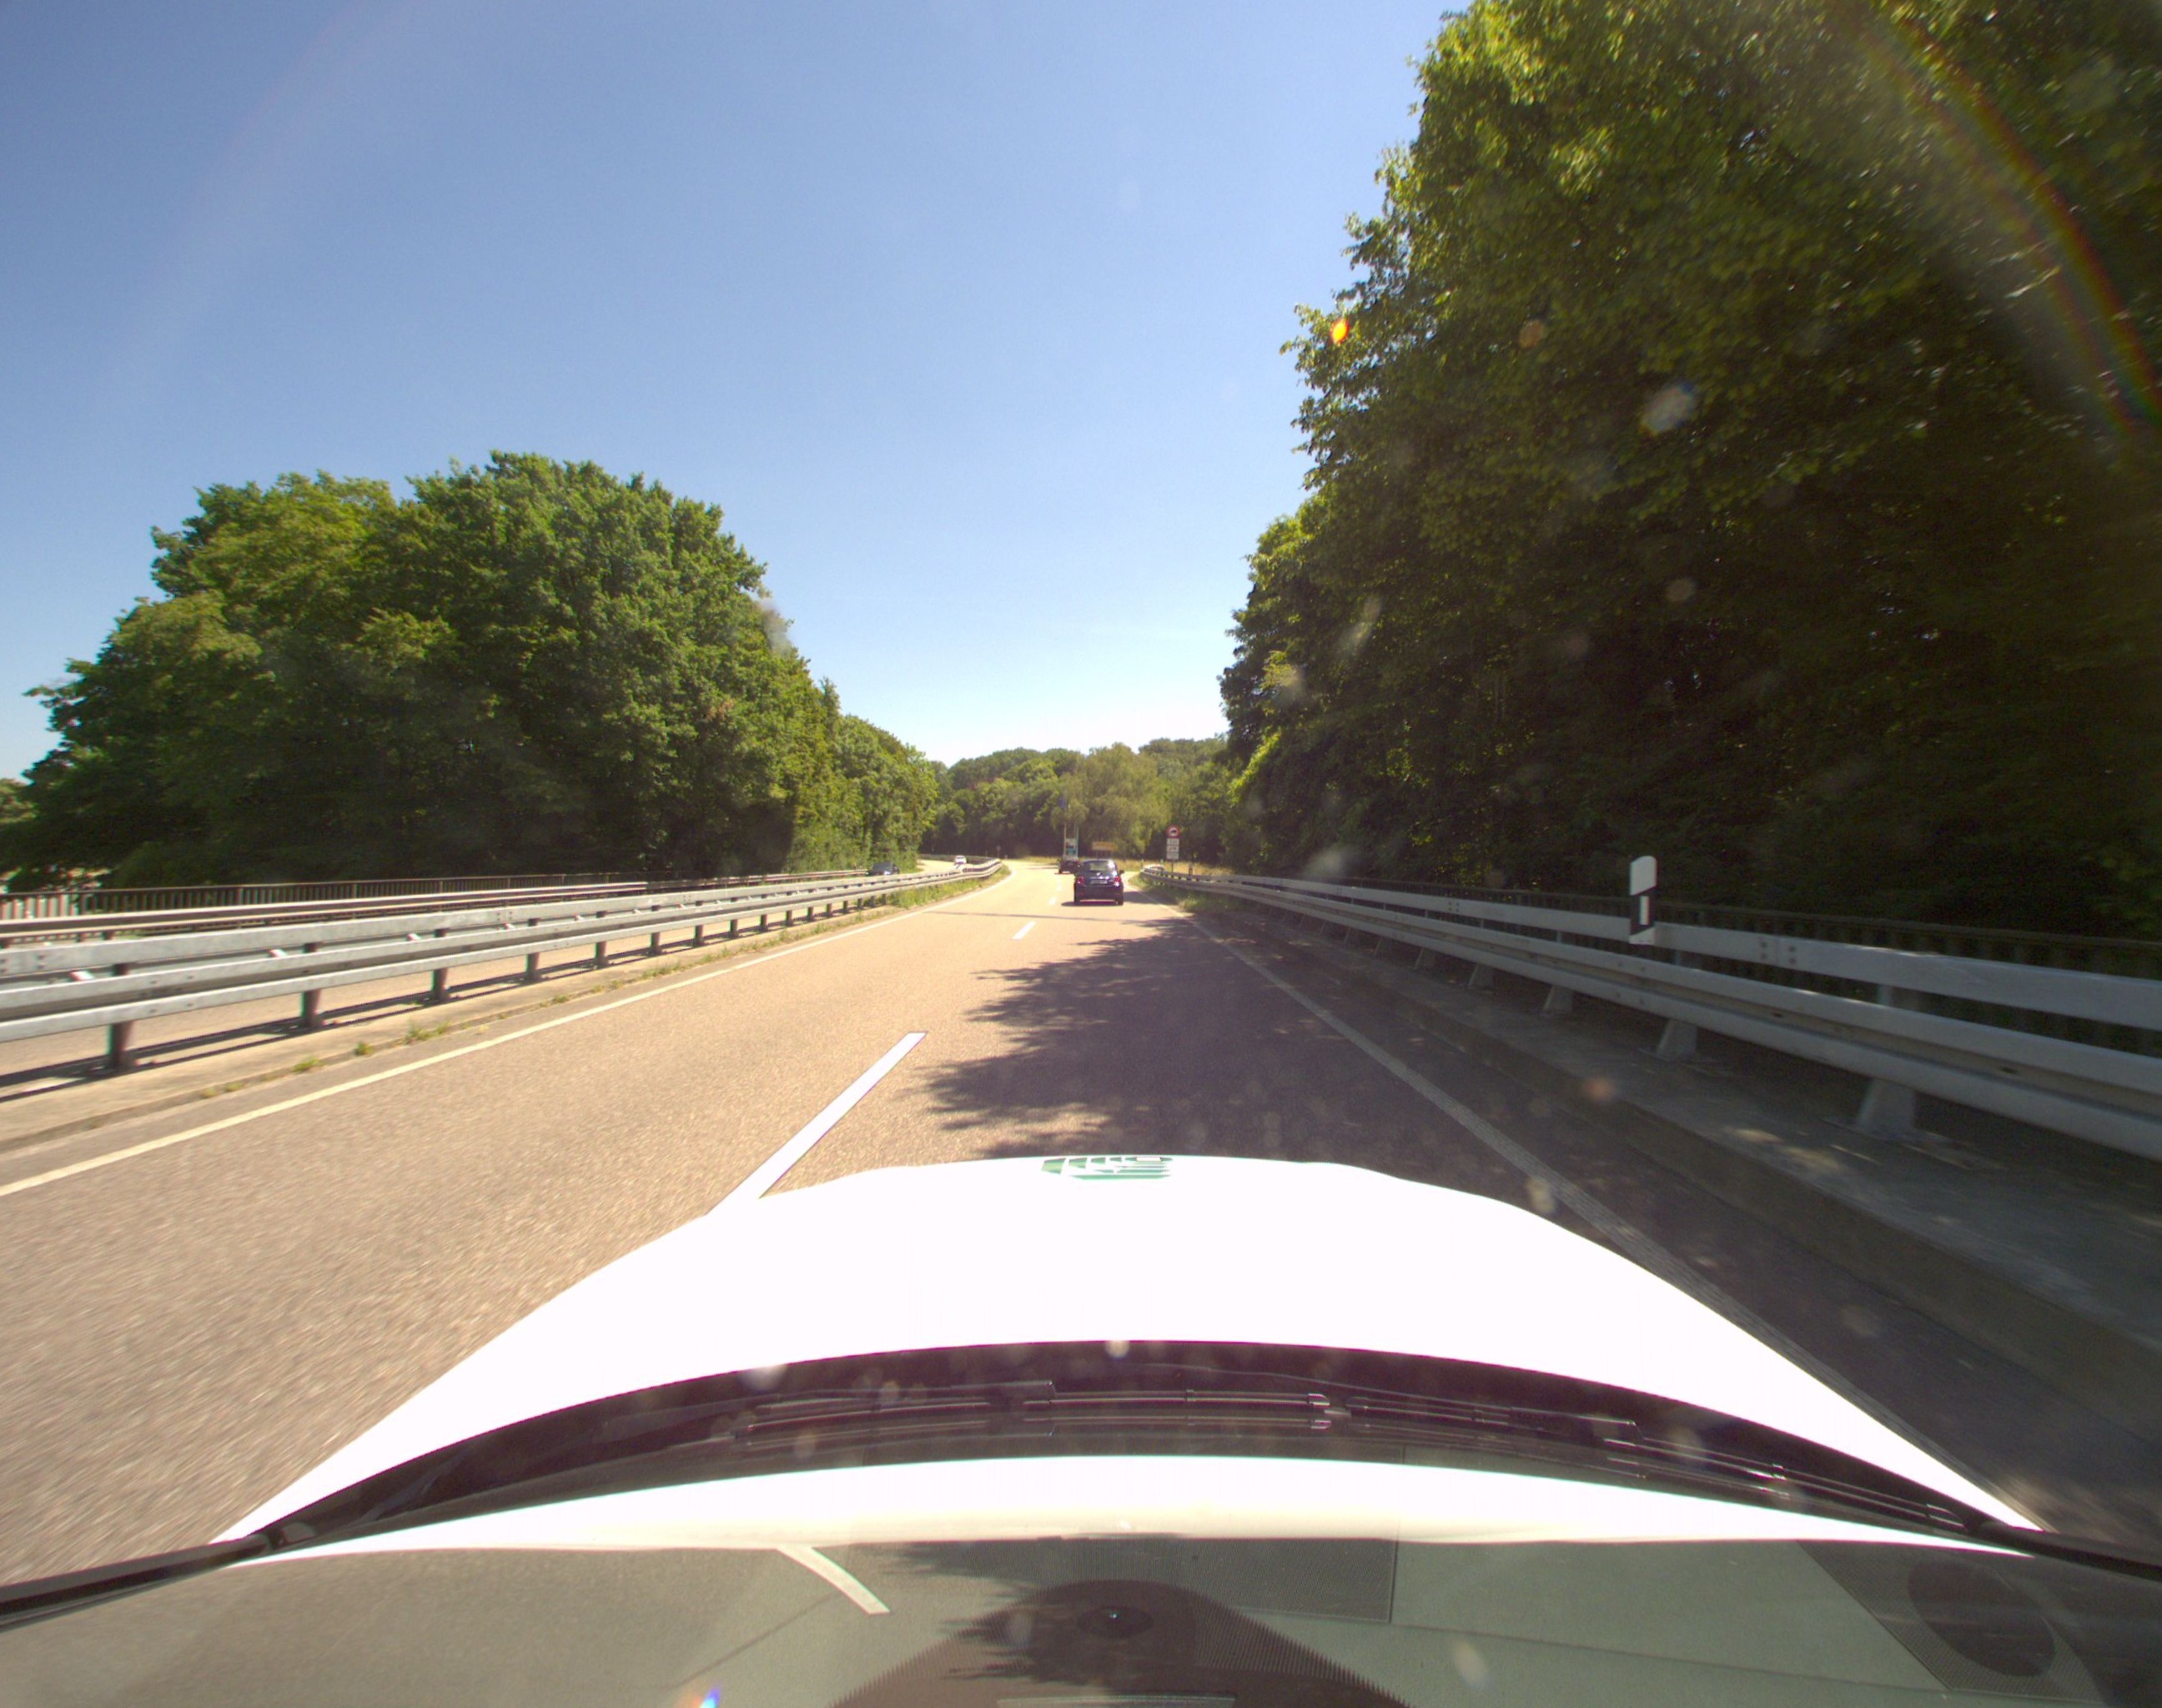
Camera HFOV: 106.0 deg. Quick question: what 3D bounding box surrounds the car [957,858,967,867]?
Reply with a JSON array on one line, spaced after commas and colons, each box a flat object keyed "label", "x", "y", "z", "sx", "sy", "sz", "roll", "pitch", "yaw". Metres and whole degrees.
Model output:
[{"label": "car", "x": -20.623, "y": 1.430, "z": 141.301, "sx": 1.754, "sy": 1.573, "sz": 4.402, "roll": -1, "pitch": 0, "yaw": -8}]

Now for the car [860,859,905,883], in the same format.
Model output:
[{"label": "car", "x": -13.464, "y": 1.118, "z": 55.415, "sx": 1.749, "sy": 1.528, "sz": 4.686, "roll": -1, "pitch": 0, "yaw": 2}]

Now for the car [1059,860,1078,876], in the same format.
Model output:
[{"label": "car", "x": -1.130, "y": 1.219, "z": 72.371, "sx": 1.522, "sy": 1.313, "sz": 3.410, "roll": -1, "pitch": 0, "yaw": -4}]

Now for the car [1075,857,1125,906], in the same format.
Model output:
[{"label": "car", "x": 0.675, "y": 0.869, "z": 27.273, "sx": 1.507, "sy": 1.501, "sz": 3.593, "roll": -1, "pitch": 0, "yaw": 3}]
